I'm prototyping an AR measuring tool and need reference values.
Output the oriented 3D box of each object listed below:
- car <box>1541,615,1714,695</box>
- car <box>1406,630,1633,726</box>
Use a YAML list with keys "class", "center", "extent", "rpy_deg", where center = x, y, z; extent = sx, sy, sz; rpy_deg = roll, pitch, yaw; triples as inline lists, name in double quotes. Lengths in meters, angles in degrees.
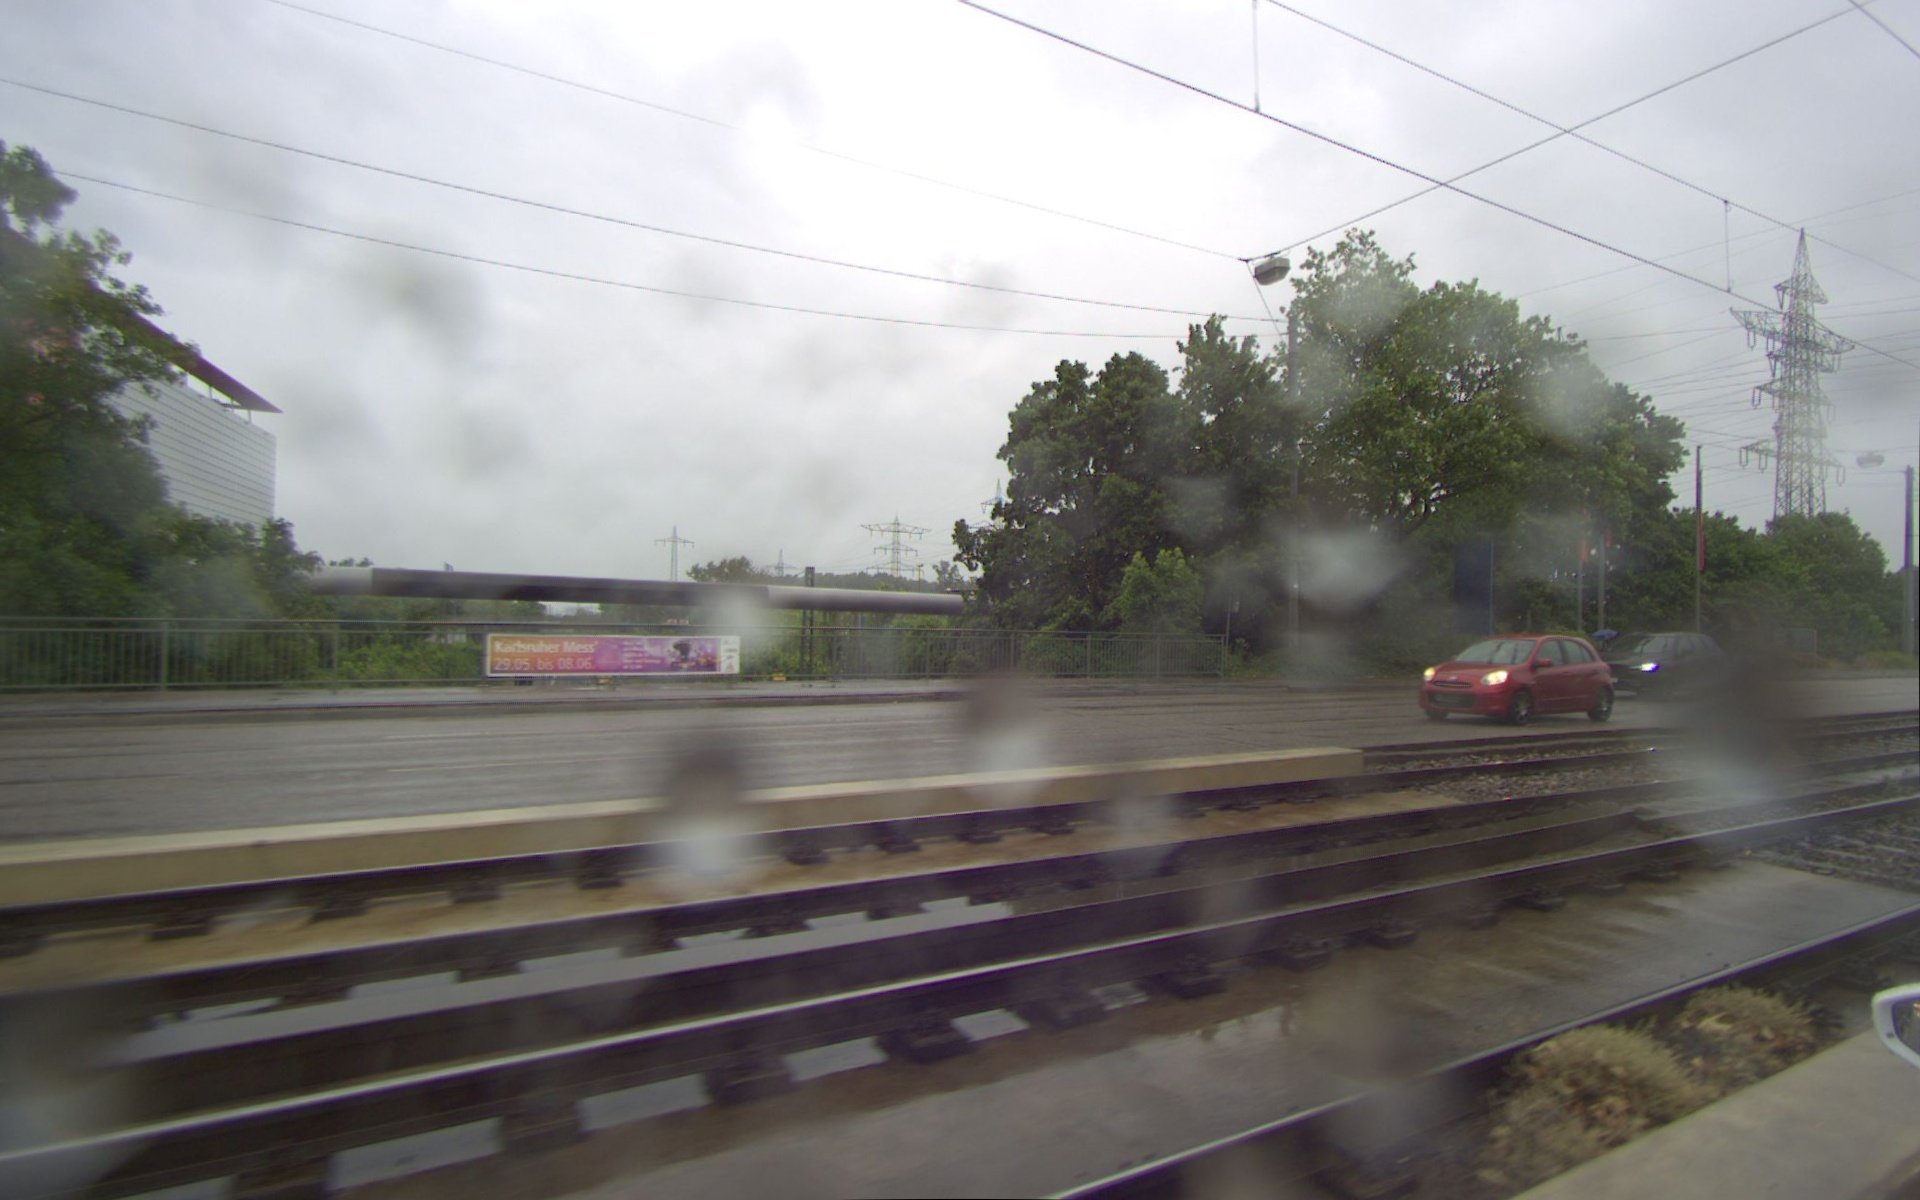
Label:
- class: "car"
  center: [16.496, 1.319, 24.821]
  extent: [3.951, 1.840, 1.985]
  rpy_deg: [1, -1, -29]
- class: "car"
  center: [9.830, 1.299, 17.601]
  extent: [3.963, 1.505, 1.650]
  rpy_deg: [1, -1, -29]
